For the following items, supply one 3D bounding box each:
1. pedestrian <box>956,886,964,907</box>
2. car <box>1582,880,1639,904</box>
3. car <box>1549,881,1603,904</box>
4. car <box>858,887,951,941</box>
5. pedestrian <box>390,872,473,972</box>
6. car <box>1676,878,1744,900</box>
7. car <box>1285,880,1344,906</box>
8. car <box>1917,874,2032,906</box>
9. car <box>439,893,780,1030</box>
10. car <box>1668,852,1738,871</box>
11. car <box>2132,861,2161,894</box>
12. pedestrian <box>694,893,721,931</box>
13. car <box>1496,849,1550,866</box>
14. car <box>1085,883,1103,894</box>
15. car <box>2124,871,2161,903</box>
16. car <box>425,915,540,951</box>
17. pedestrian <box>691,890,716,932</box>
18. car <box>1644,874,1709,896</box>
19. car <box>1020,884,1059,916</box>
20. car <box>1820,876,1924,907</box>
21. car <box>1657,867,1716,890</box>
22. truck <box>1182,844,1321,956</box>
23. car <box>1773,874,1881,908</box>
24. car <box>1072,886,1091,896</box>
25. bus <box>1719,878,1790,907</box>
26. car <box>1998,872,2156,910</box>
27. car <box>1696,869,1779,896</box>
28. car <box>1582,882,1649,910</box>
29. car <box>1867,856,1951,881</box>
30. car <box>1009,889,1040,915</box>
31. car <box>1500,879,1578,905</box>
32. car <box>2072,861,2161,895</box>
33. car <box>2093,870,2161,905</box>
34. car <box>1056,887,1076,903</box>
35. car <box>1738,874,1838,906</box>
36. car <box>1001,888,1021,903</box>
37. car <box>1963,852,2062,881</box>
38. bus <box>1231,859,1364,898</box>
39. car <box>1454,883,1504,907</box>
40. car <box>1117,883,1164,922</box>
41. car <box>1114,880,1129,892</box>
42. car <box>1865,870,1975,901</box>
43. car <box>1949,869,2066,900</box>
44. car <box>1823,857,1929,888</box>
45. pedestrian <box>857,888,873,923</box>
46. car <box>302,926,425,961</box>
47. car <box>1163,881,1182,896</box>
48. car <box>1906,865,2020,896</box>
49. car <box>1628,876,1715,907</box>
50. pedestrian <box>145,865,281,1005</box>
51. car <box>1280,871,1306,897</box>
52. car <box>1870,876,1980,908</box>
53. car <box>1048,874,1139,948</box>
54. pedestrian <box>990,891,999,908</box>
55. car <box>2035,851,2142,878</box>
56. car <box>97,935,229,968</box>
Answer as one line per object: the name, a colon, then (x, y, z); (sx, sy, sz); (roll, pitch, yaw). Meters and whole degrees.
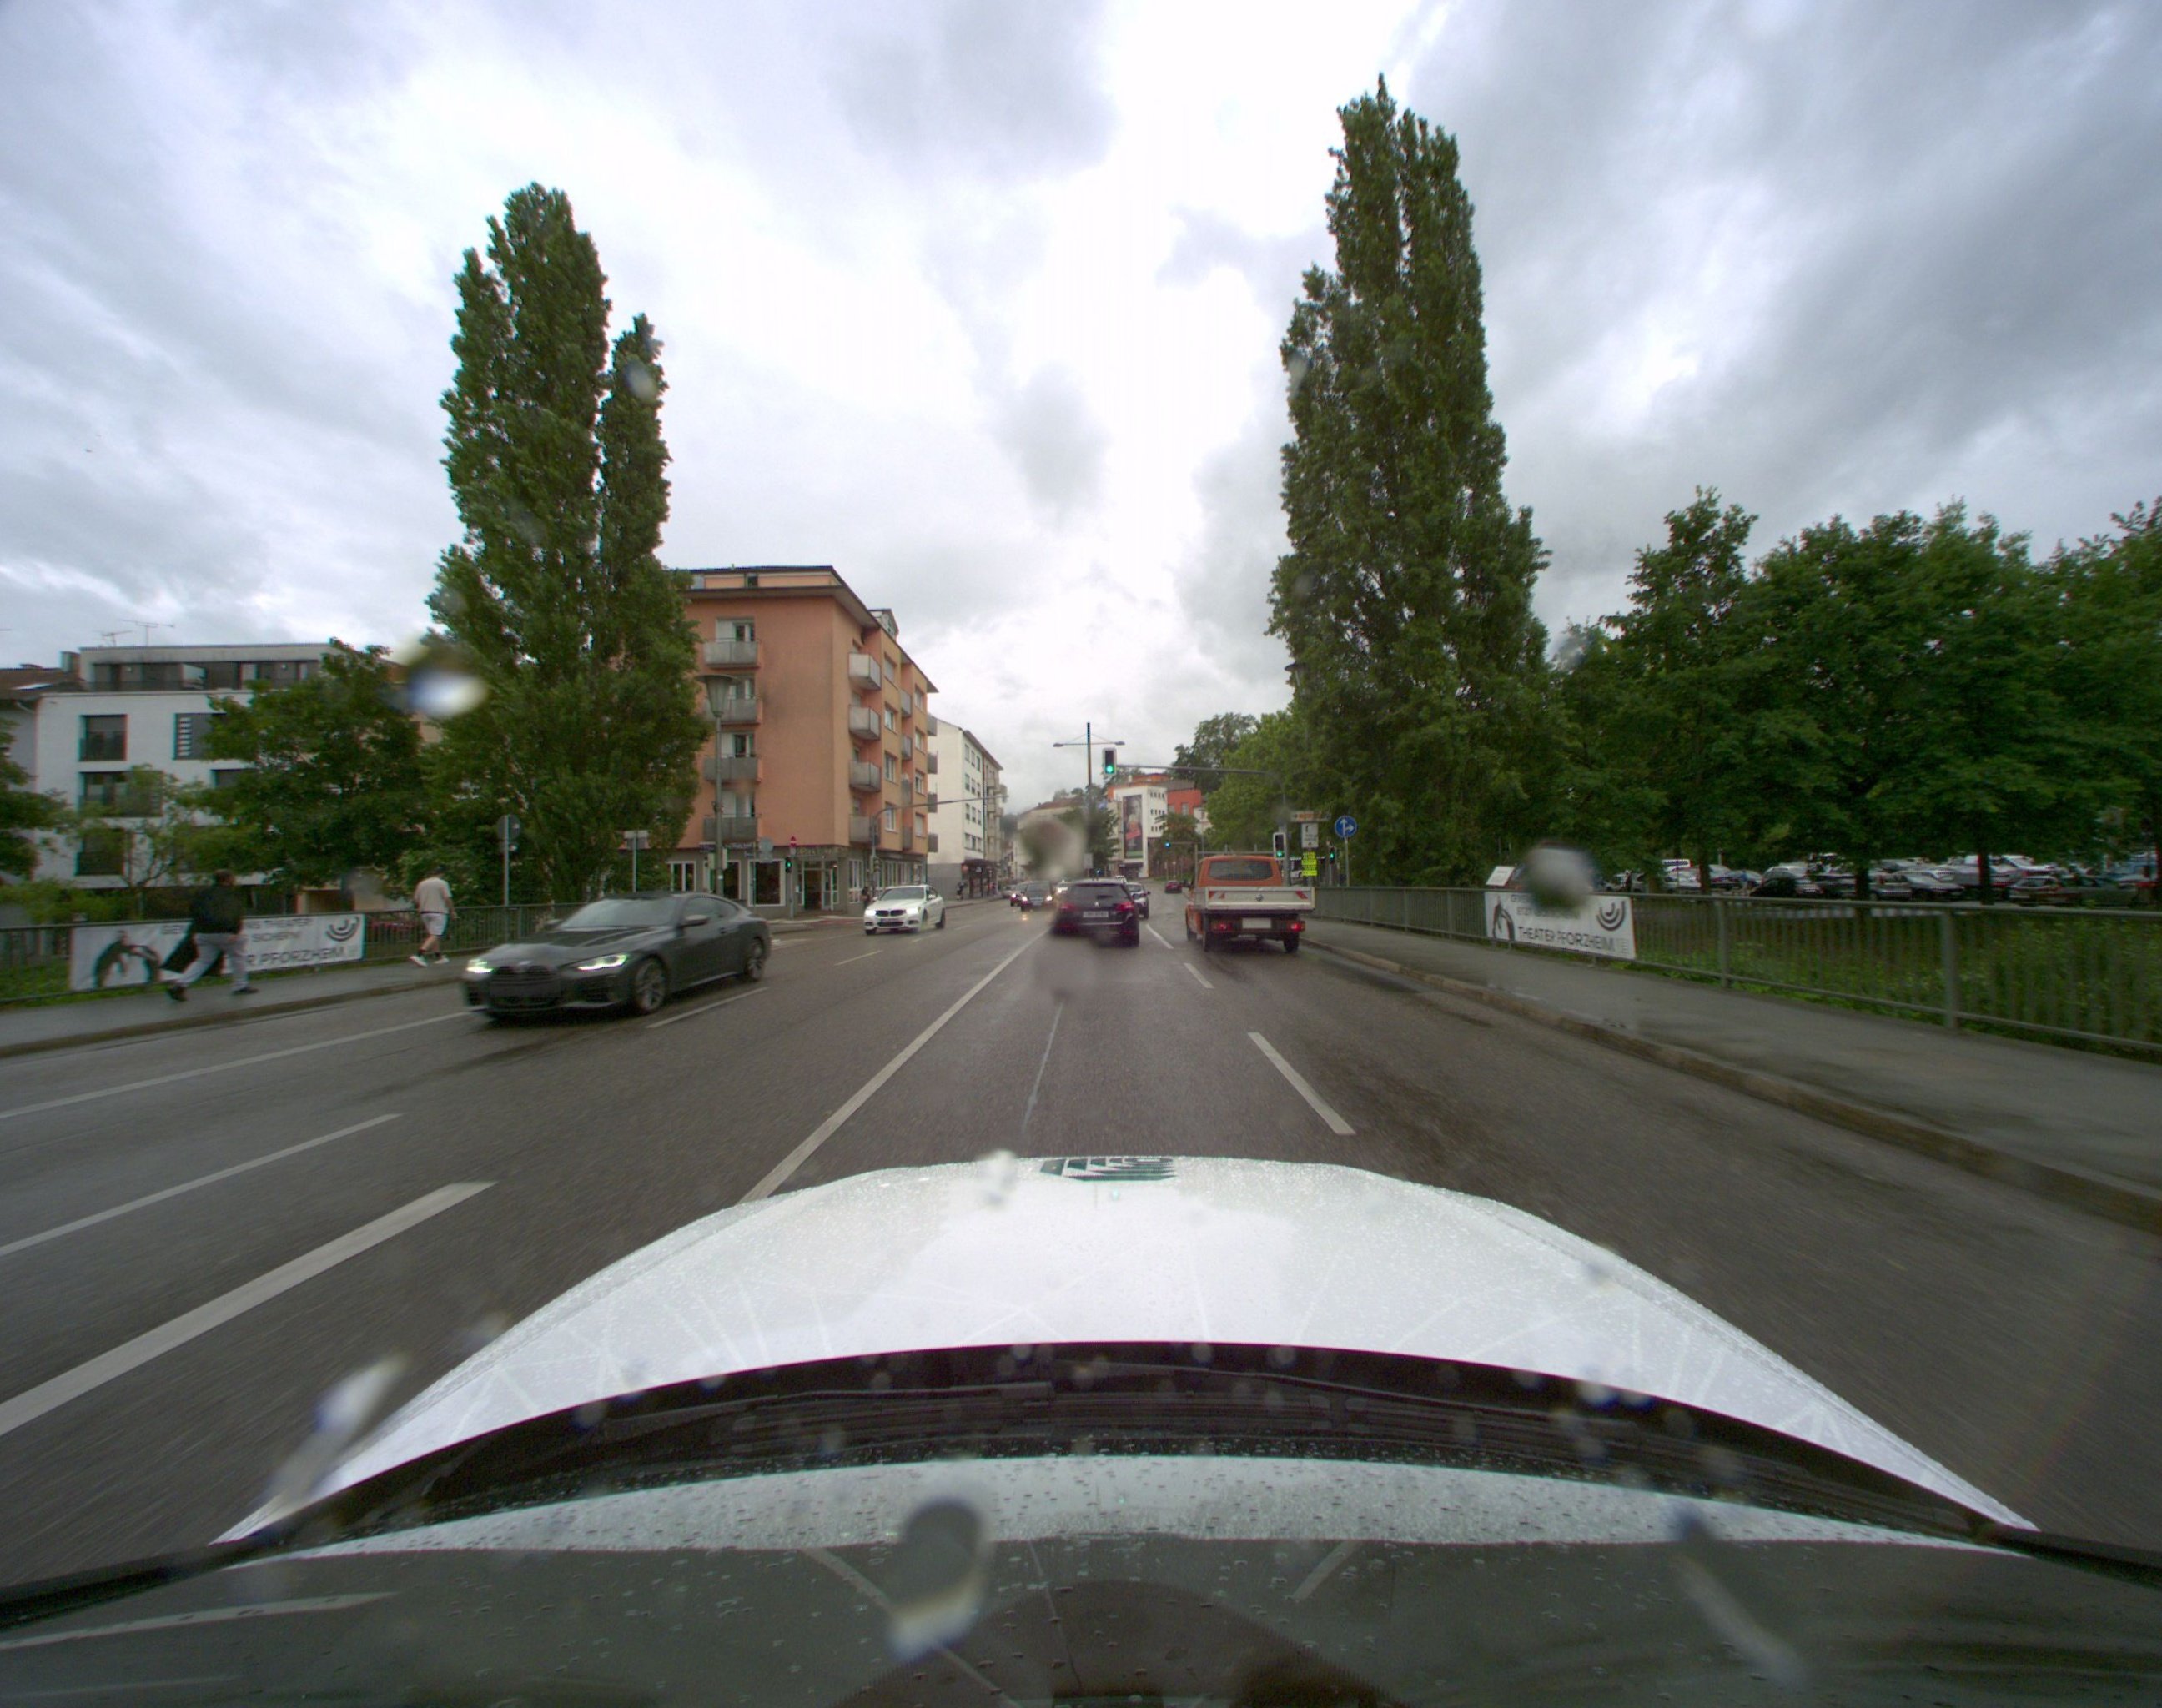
pedestrian: (-10.977, 3.848, 73.929); (0.637, 1.861, 0.523); (0, -2, 0)
car: (39.096, 2.818, 60.222); (1.811, 1.651, 4.004); (-1, -3, 5)
car: (36.357, 2.846, 59.915); (1.811, 1.651, 4.004); (-1, -3, 5)
car: (-5.548, 1.854, 26.236); (1.829, 1.510, 4.820); (-1, -2, 1)
pedestrian: (-12.028, 1.242, 15.103); (0.793, 1.794, 0.813); (0, -3, 4)
car: (46.794, 2.593, 60.683); (1.799, 1.550, 4.202); (0, -3, 1)
car: (17.504, 2.902, 61.094); (3.968, 1.925, 1.972); (0, -2, 4)
car: (47.937, 1.928, 43.821); (1.795, 1.587, 3.901); (-1, -2, -1)
car: (-5.682, 1.219, 10.611); (1.785, 1.325, 4.406); (-1, -2, 1)
car: (62.634, 0.765, 82.179); (5.269, 1.758, 1.947); (-2, -3, 24)
car: (66.694, 1.380, 48.848); (1.989, 2.014, 3.995); (-1, -2, -3)
pedestrian: (-14.662, 2.270, 31.972); (0.648, 1.446, 0.801); (-3, -5, 8)
car: (50.756, 0.392, 93.497); (5.266, 1.758, 1.948); (-2, -3, 34)
car: (2.151, 5.806, 137.096); (1.651, 1.565, 3.571); (4, -5, -23)
car: (60.327, 1.754, 44.113); (1.923, 1.758, 4.441); (0, -3, 1)
car: (-27.785, 3.658, 37.900); (3.971, 1.388, 1.900); (-3, -3, 2)
pedestrian: (-15.166, 2.283, 32.725); (0.789, 1.664, 0.625); (-6, -6, 36)
car: (44.326, 2.348, 60.758); (1.799, 1.550, 4.202); (0, -3, 1)
car: (-2.243, 2.519, 44.899); (1.730, 1.602, 3.920); (-3, -2, 2)
car: (42.835, 2.047, 44.223); (1.795, 1.587, 3.901); (-1, -2, -1)
car: (55.117, 2.258, 74.237); (1.987, 2.014, 4.594); (0, -3, 1)
truck: (3.376, 0.905, 17.125); (2.113, 2.025, 4.717); (0, -2, 2)
car: (40.239, 1.976, 44.087); (1.795, 1.710, 4.342); (-1, -2, -1)
car: (0.115, 5.783, 127.098); (1.651, 1.565, 3.571); (4, -5, -23)
bus: (50.185, 2.914, 60.808); (1.986, 2.014, 3.999); (1, -5, 1)
car: (41.593, 1.546, 34.096); (3.967, 1.547, 1.893); (-1, -3, 5)
car: (44.163, 1.950, 54.908); (1.923, 1.758, 4.594); (0, -3, 1)
car: (35.415, 2.772, 54.111); (1.795, 1.764, 3.944); (-1, -2, -1)
car: (62.400, 1.124, 61.510); (1.987, 1.703, 4.253); (0, -3, 1)
car: (-3.832, 3.268, 55.926); (1.730, 1.602, 3.919); (-1, -2, 1)
car: (30.077, 2.490, 53.604); (4.111, 1.621, 1.804); (-1, -3, -3)
car: (57.582, 1.325, 44.230); (1.923, 1.758, 4.594); (0, -3, 1)
car: (49.224, 1.536, 37.005); (3.967, 1.547, 1.760); (-1, -3, 5)
car: (-1.419, 3.930, 78.655); (1.648, 1.450, 3.544); (-3, -3, 2)
car: (37.856, 1.922, 43.732); (1.795, 1.590, 4.013); (-1, -2, -1)
car: (-7.491, 4.486, 87.601); (1.771, 1.525, 3.661); (-1, -2, 1)
car: (68.614, 0.962, 60.088); (1.987, 2.014, 4.594); (0, -3, 1)
bus: (30.178, 3.510, 114.241); (17.836, 5.212, 3.102); (-1, -3, 4)
car: (28.906, 2.964, 59.229); (1.592, 1.651, 3.632); (-2, -3, -4)
car: (2.474, 1.969, 33.561); (1.786, 1.484, 4.004); (-2, -3, 4)
car: (6.231, 4.906, 125.604); (1.989, 1.821, 3.995); (0, -2, -3)
car: (50.697, 1.914, 49.370); (1.923, 1.758, 4.594); (0, -3, 1)
car: (50.208, 1.653, 44.250); (1.795, 1.587, 3.901); (-1, -2, -1)
car: (47.957, 1.188, 49.274); (1.923, 1.758, 4.594); (0, -3, 1)
pedestrian: (-10.731, 2.556, 40.442); (0.528, 1.727, 0.649); (-2, -3, 5)
car: (-32.905, 4.098, 37.445); (3.971, 1.388, 1.900); (-1, -3, 2)
car: (10.334, 3.944, 91.947); (1.640, 1.565, 3.597); (2, -5, -1)
car: (53.533, 1.651, 49.586); (1.923, 1.758, 4.594); (0, -3, 1)
car: (35.493, 2.252, 49.105); (1.795, 1.764, 4.583); (-1, -2, -1)
pedestrian: (-11.691, 1.065, 11.012); (0.695, 1.794, 0.959); (-1, -3, 4)
car: (24.934, 3.534, 95.814); (2.064, 2.971, 4.229); (0, -3, 3)
car: (45.470, 2.039, 44.011); (1.795, 1.587, 3.901); (-1, -2, -1)
car: (0.395, 1.257, 18.440); (1.786, 1.484, 4.004); (0, -3, 5)
pedestrian: (-10.200, 5.383, 96.309); (0.731, 2.014, 0.651); (5, -6, -31)
car: (73.677, 0.821, 59.676); (1.990, 1.848, 4.586); (0, -3, -4)
car: (-42.498, 4.508, 37.755); (3.971, 1.388, 1.900); (0, -3, 2)
